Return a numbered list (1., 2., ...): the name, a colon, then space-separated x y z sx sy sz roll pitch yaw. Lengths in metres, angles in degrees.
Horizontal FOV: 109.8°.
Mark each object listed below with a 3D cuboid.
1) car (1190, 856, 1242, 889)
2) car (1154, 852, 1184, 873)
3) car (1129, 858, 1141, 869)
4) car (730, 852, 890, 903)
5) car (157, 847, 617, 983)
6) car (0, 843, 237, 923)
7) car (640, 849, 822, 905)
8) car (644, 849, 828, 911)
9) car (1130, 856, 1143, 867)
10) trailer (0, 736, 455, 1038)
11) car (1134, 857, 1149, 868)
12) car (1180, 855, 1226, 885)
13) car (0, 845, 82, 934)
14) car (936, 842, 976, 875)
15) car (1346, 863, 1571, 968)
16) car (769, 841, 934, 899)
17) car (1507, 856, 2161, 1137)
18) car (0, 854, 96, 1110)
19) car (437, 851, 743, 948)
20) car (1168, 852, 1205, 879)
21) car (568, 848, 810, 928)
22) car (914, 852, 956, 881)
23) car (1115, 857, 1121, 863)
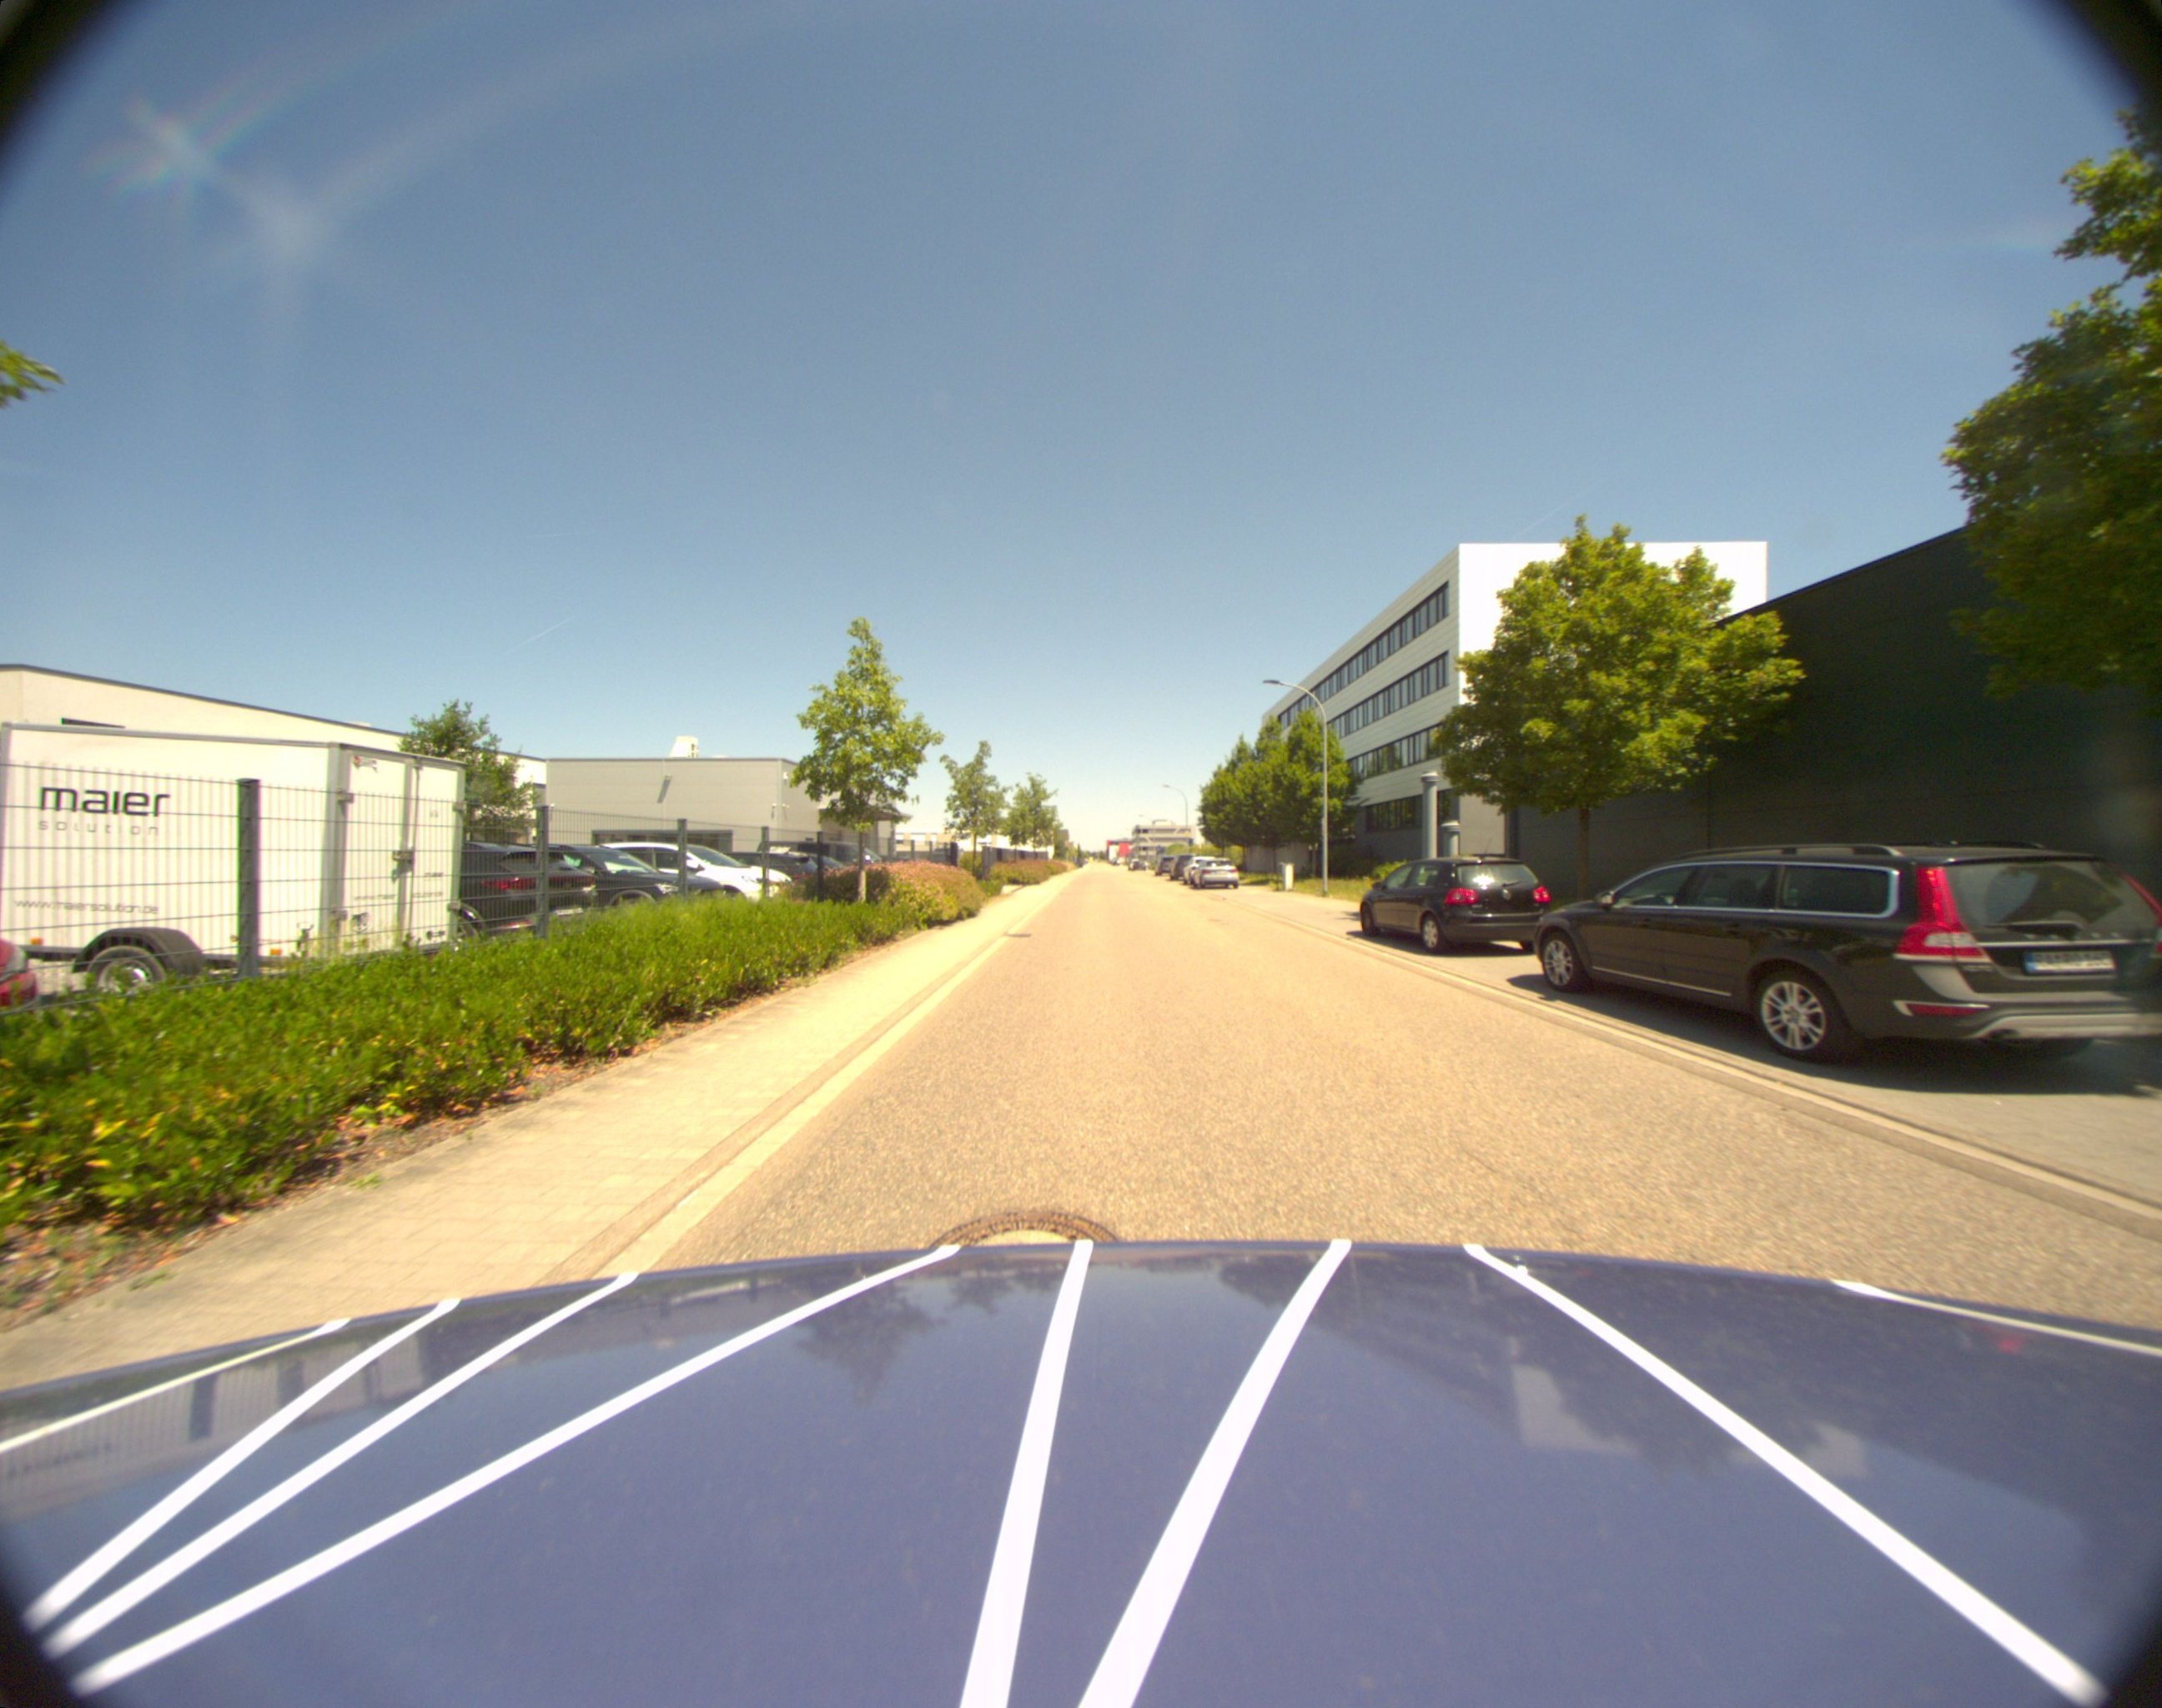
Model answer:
1. car: 6.324 0.848 35.927 1.775 1.422 3.940 -1 0 1
2. car: 7.005 0.657 60.571 1.775 1.578 4.481 -1 -1 -1
3. car: 8.212 1.431 115.851 1.678 1.521 3.910 -1 0 1
4. car: -8.314 0.712 23.545 4.355 1.441 1.602 1 0 0
5. car: -8.464 0.690 9.585 4.051 1.495 1.918 1 0 0
6. car: -18.738 0.497 14.247 3.915 1.380 1.724 1 0 0
7. car: -9.720 0.614 21.316 4.290 1.436 1.755 1 0 0
8. car: -8.211 0.594 18.288 3.674 1.414 1.644 0 0 1
9. car: 7.987 1.104 109.183 1.678 1.521 3.758 0 0 1
10. trailer: -7.661 0.274 6.827 2.830 2.389 1.419 1 0 -3
11. car: 7.940 1.123 100.024 1.678 1.442 4.069 0 0 1
12. car: 6.478 0.817 40.776 1.775 1.422 4.201 -4 0 1
13. car: -18.747 0.527 11.864 4.051 1.380 1.724 1 0 0
14. car: -8.320 0.282 50.891 1.881 2.074 4.226 1 0 1
15. car: 6.173 0.910 13.039 1.775 1.422 4.201 -1 0 0
16. car: -7.904 0.531 26.476 5.126 1.863 1.903 1 0 0
17. car: 6.098 0.839 6.869 1.775 1.602 4.852 -1 0 0
18. car: -8.213 0.699 3.930 3.900 1.467 1.806 2 0 1
19. car: -8.167 0.726 12.900 4.051 1.482 1.743 1 0 0
20. car: 6.585 0.710 47.821 1.775 1.614 4.582 0 0 1
21. car: -7.899 0.654 15.582 3.997 1.513 1.822 0 0 1
22. car: -8.367 0.692 43.804 1.546 1.546 3.879 0 0 1
23. car: 10.223 1.743 211.003 1.694 1.481 3.661 -2 0 2
